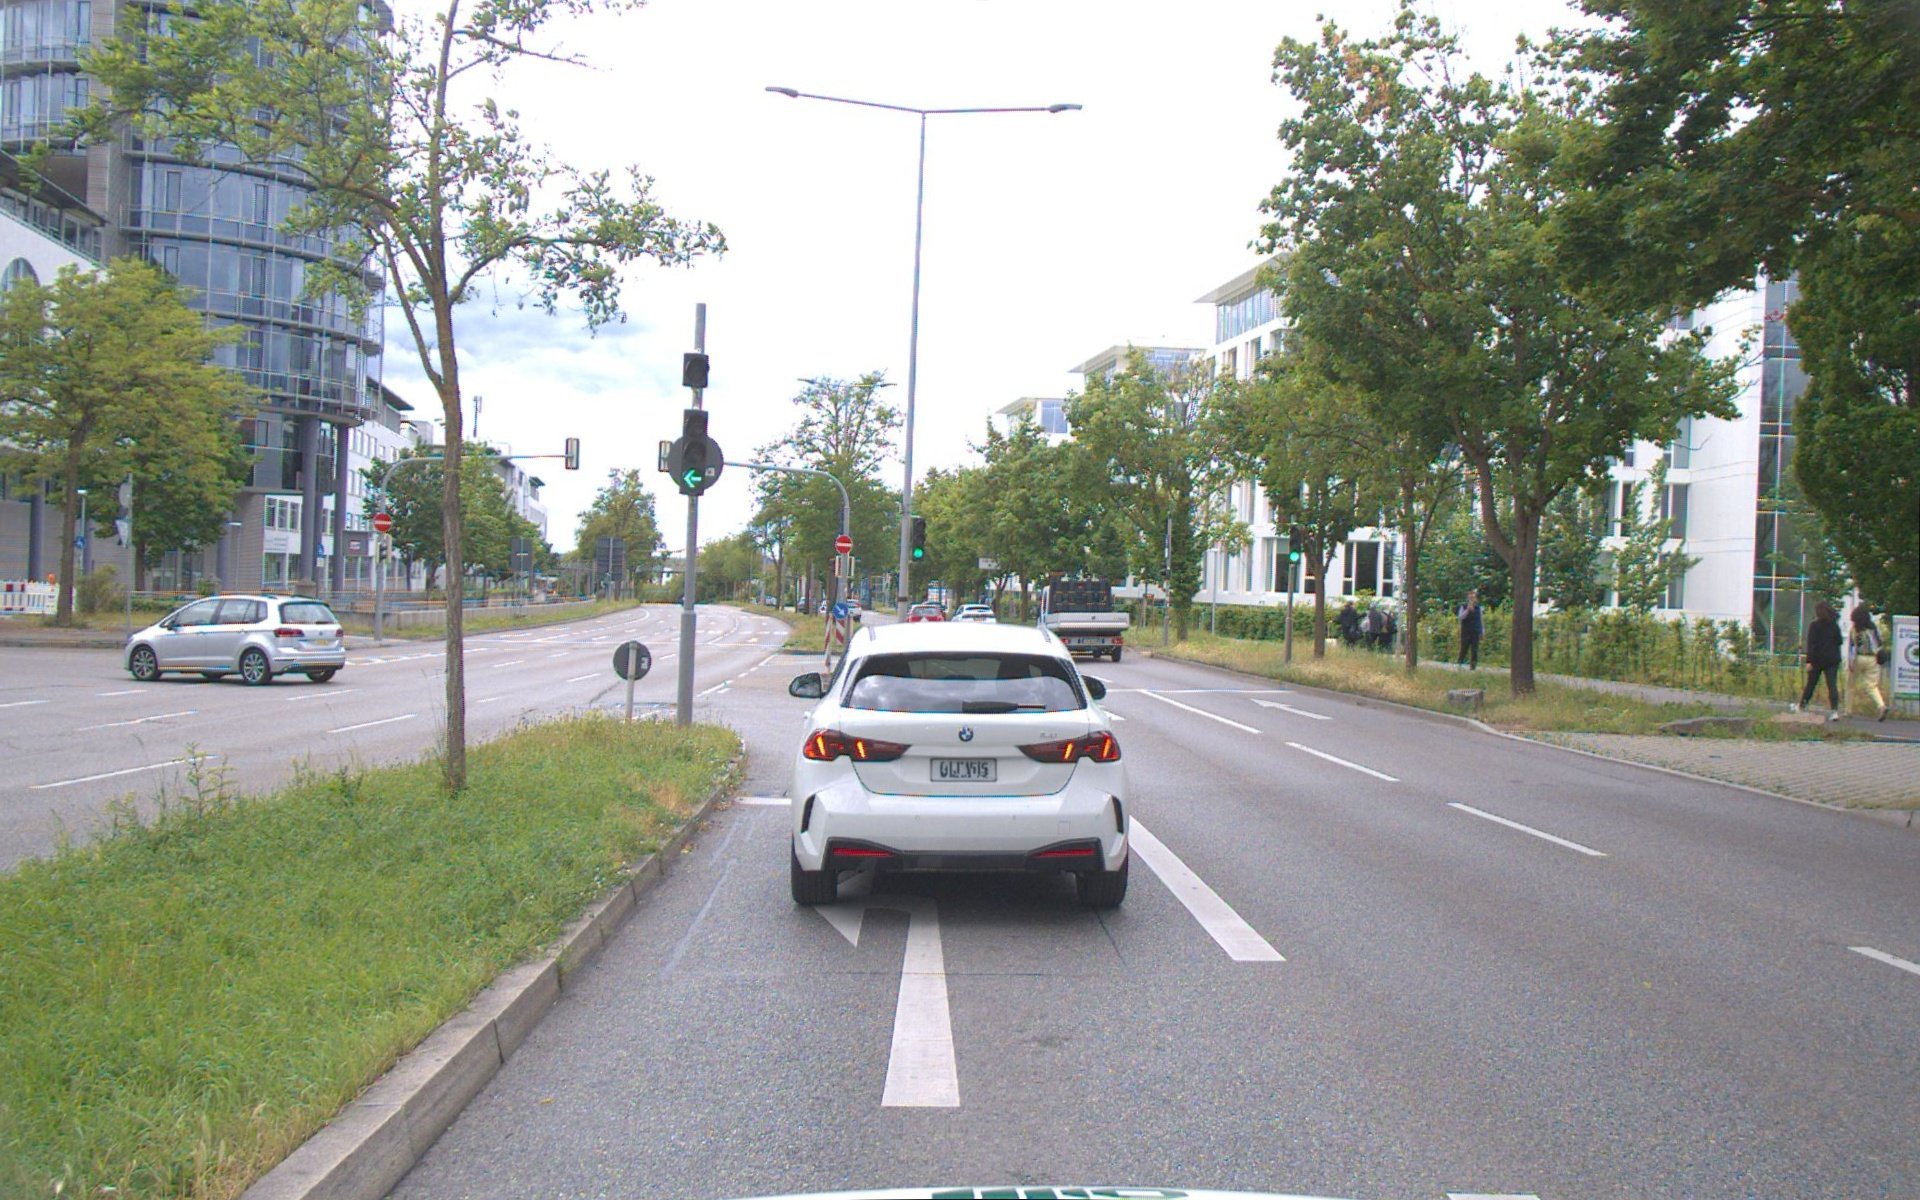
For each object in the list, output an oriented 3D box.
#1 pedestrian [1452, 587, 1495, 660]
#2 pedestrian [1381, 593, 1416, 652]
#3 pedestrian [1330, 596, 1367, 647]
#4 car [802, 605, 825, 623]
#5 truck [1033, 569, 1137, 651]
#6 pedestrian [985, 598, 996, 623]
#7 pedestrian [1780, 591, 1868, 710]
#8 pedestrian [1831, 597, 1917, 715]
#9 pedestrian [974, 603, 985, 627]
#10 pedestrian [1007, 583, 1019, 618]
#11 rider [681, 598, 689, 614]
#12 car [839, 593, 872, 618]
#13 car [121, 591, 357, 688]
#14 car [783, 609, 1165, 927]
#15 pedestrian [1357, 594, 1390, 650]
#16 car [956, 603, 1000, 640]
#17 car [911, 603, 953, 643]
[{"bbox_3d":[11.353,0.523,36.598,0.726,1.602,0.674,1,-1,-2],"label":"pedestrian"},{"bbox_3d":[12.794,0.659,48.223,0.751,1.715,0.883,1,-1,-2],"label":"pedestrian"},{"bbox_3d":[11.330,0.631,48.256,0.773,1.473,1.111,1,-1,-1],"label":"pedestrian"},{"bbox_3d":[-13.348,1.252,150.370,1.856,1.624,4.305,2,-1,-8],"label":"car"},{"bbox_3d":[3.588,0.298,48.674,2.168,2.242,5.838,1,-1,-4],"label":"truck"},{"bbox_3d":[2.578,0.894,140.851,0.749,2.049,0.751,1,-1,-15],"label":"pedestrian"},{"bbox_3d":[12.719,0.730,24.377,0.779,1.689,1.060,1,-1,5],"label":"pedestrian"},{"bbox_3d":[13.482,0.818,24.424,0.762,1.689,0.952,1,-1,5],"label":"pedestrian"},{"bbox_3d":[1.639,1.264,140.979,0.749,2.049,0.751,1,-1,-15],"label":"pedestrian"},{"bbox_3d":[4.060,0.048,125.913,0.814,2.673,0.646,2,-1,-1],"label":"pedestrian"},{"bbox_3d":[-31.278,0.664,188.036,0.830,1.803,0.806,1,-1,-9],"label":"rider"},{"bbox_3d":[-7.155,0.388,112.710,1.821,1.624,4.303,1,-1,-10],"label":"car"},{"bbox_3d":[-13.129,0.698,30.132,3.904,1.596,1.555,1,-1,19],"label":"car"},{"bbox_3d":[0.053,0.817,9.880,1.785,1.463,3.999,2,-1,-1],"label":"car"},{"bbox_3d":[12.053,0.645,48.222,0.685,1.623,0.883,1,-1,-2],"label":"pedestrian"},{"bbox_3d":[0.802,0.971,74.454,1.681,1.583,4.086,1,-1,-3],"label":"car"},{"bbox_3d":[-1.169,0.932,68.225,1.681,1.585,3.857,0,-1,-1],"label":"car"}]
